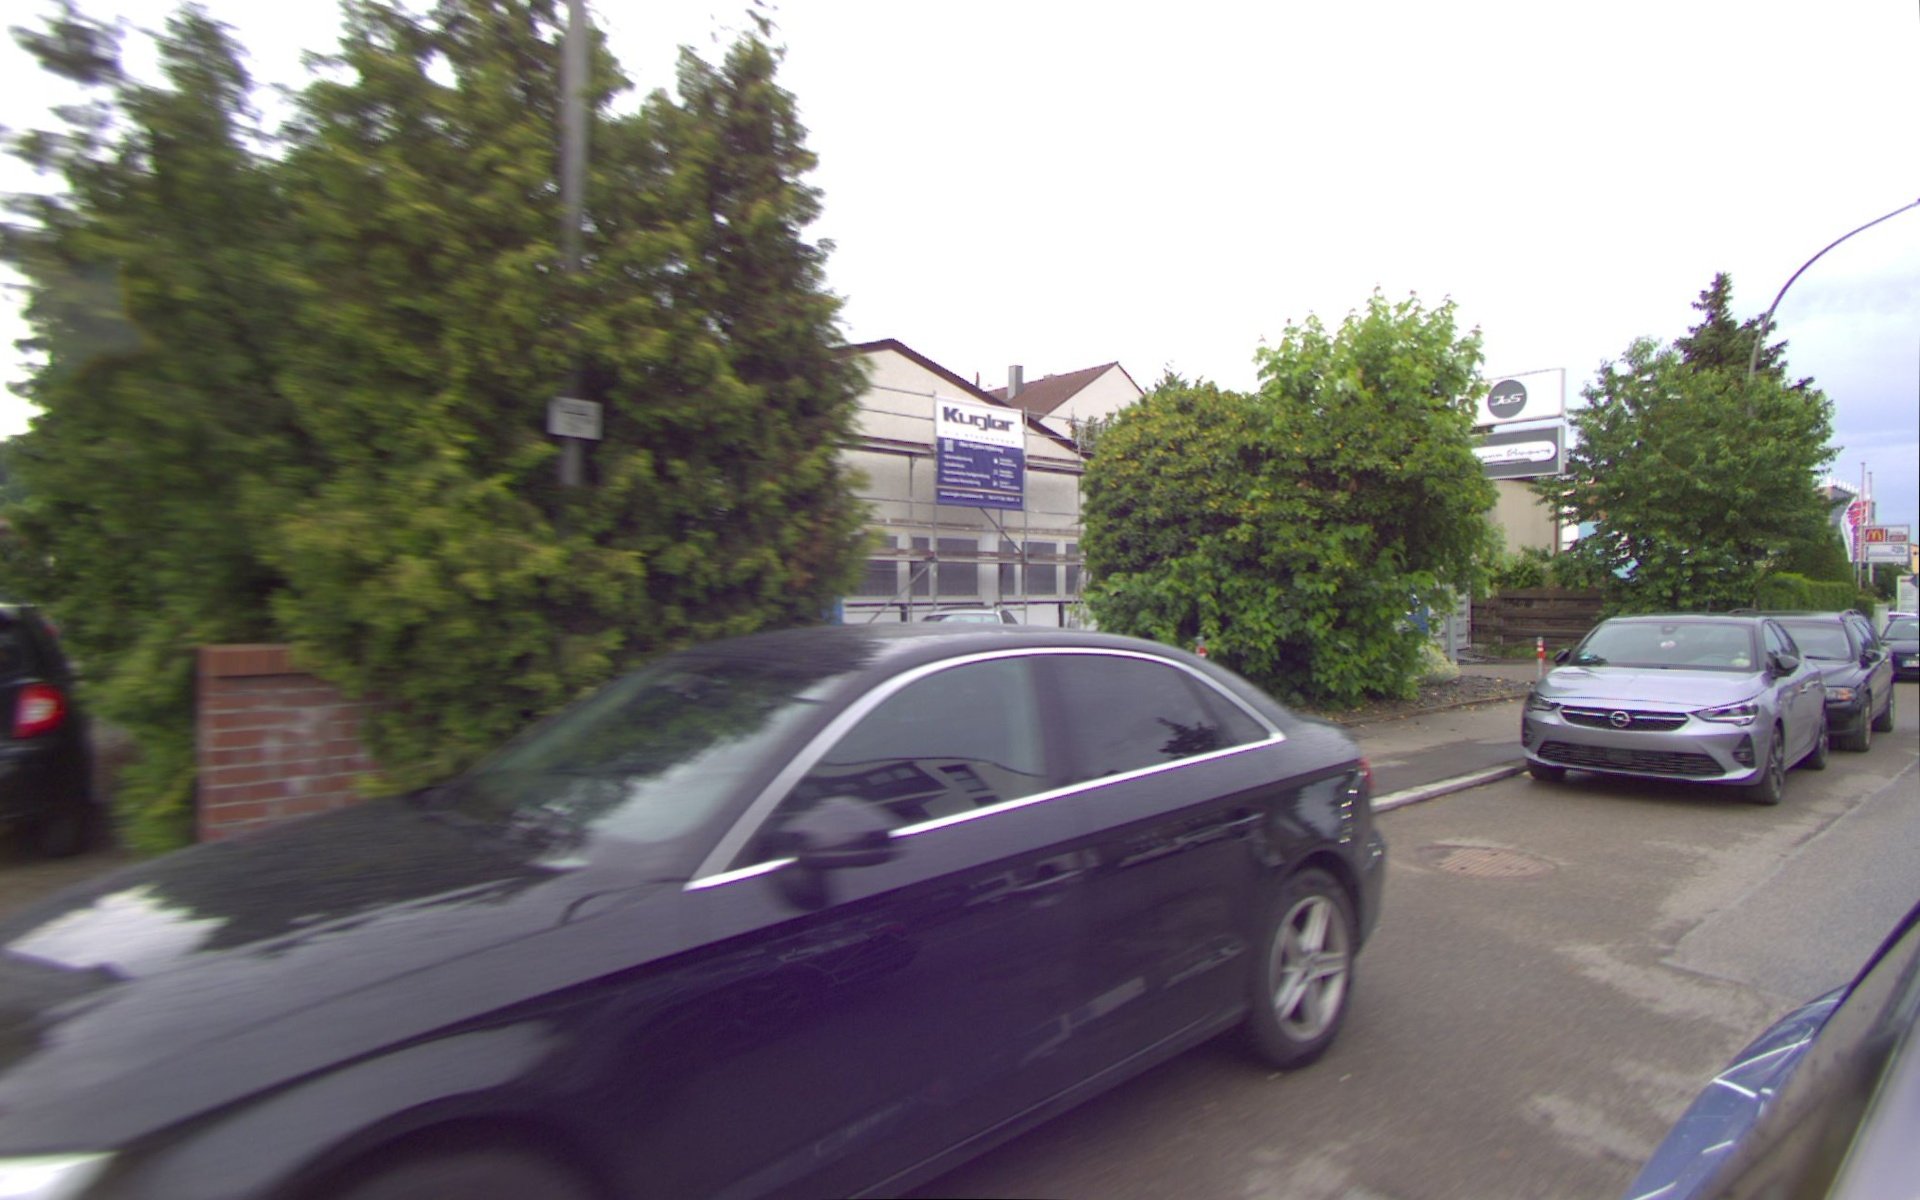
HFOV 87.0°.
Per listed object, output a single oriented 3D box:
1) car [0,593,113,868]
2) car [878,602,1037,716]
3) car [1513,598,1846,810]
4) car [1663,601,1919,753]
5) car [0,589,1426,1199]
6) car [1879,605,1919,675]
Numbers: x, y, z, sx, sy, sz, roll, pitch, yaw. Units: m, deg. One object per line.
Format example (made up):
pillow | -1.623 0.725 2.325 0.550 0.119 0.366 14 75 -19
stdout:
car | -6.700 0.771 6.619 1.670 1.448 3.994 1 -3 -39
car | 0.098 0.739 14.605 1.580 1.386 3.756 1 0 11
car | 6.493 0.731 8.958 3.975 1.458 1.654 1 0 -43
car | 10.046 0.775 12.078 4.406 1.458 1.764 1 1 -42
car | -0.443 0.721 2.942 4.038 1.436 1.755 1 1 -41
car | 21.844 0.852 22.467 3.625 1.483 1.675 1 -2 -41
